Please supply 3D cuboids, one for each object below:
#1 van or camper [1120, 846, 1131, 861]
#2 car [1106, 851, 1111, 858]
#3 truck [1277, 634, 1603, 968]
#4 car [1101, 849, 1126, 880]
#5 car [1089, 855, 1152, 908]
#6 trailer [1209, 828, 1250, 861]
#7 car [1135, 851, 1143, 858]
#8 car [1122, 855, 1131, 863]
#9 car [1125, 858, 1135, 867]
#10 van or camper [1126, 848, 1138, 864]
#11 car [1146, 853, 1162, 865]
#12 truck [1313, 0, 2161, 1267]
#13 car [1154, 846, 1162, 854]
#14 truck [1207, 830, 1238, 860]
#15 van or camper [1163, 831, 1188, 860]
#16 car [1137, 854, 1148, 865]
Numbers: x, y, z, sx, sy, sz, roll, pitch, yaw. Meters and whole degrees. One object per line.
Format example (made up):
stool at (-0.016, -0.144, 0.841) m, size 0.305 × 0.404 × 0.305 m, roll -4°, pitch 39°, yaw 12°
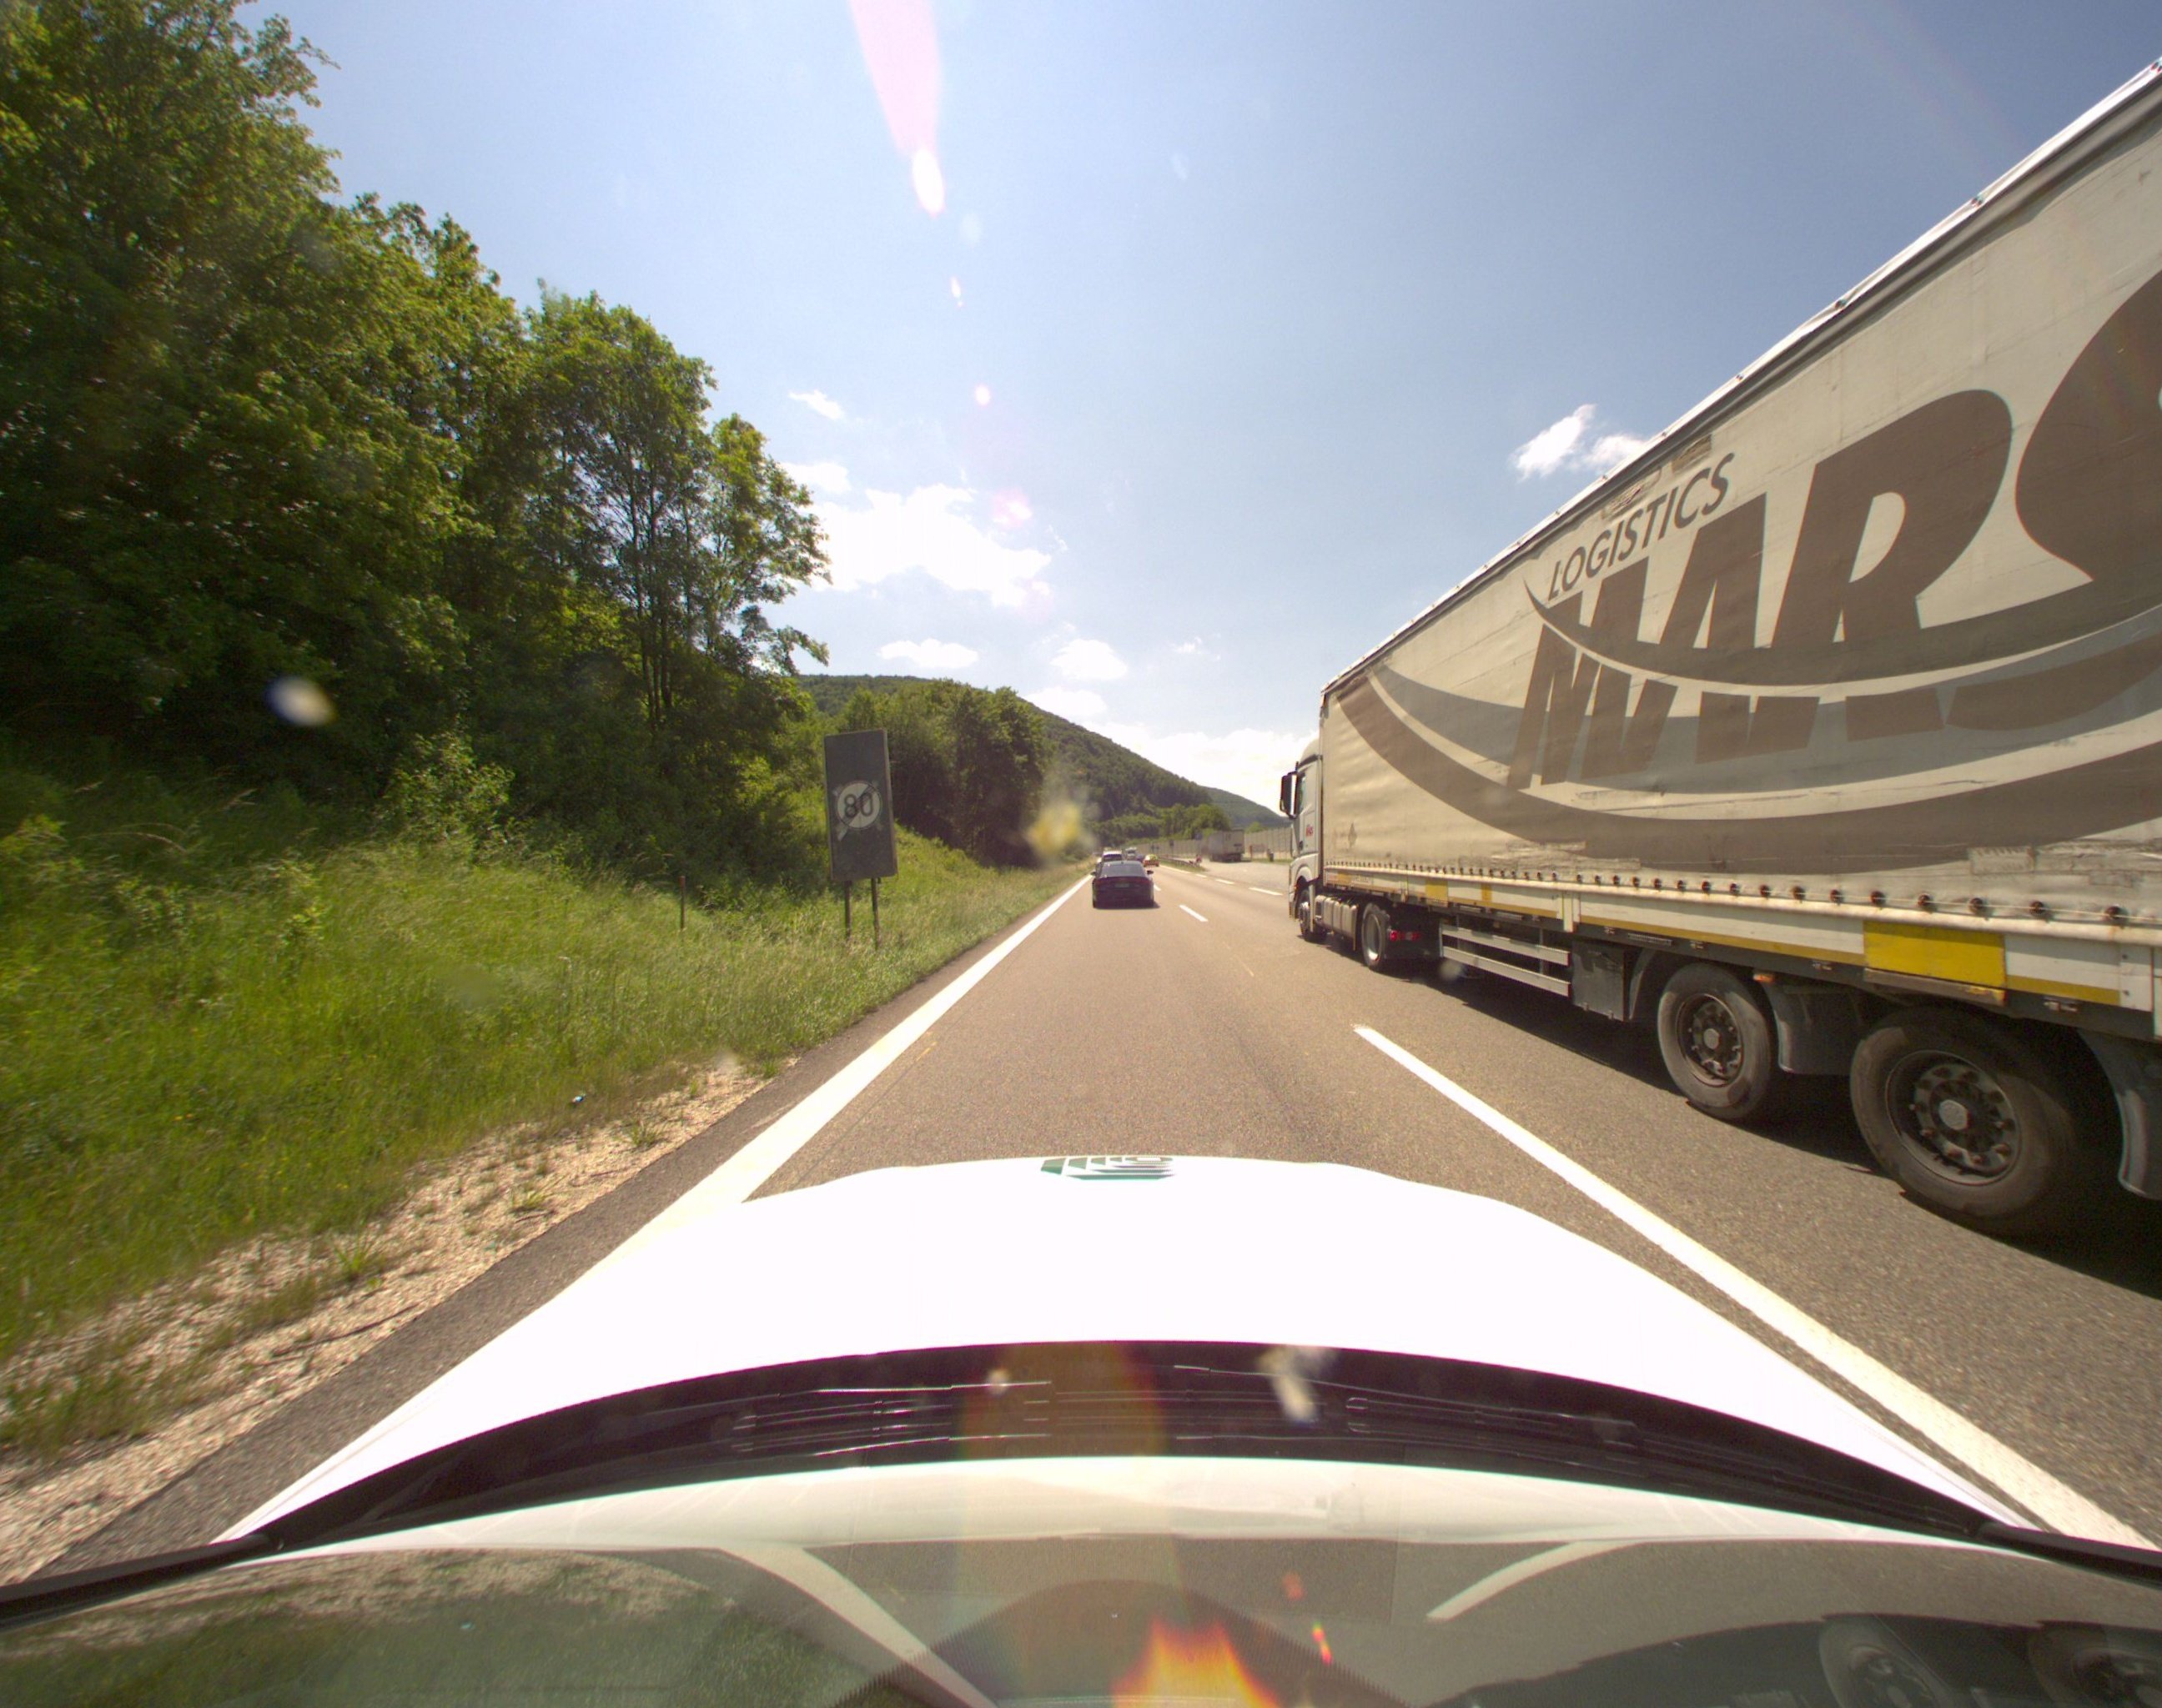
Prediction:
van or camper at (12.011, -0.132, 219.034) m, size 2.785 × 3.907 × 6.166 m, roll 0°, pitch -1°, yaw 0°
car at (8.243, 0.132, 244.011) m, size 1.681 × 2.013 × 4.001 m, roll -1°, pitch 0°, yaw 2°
truck at (5.075, -0.611, 12.847) m, size 2.709 × 4.068 × 5.756 m, roll -1°, pitch -1°, yaw 2°
car at (2.115, 0.700, 53.570) m, size 1.515 × 1.968 × 3.515 m, roll 1°, pitch -1°, yaw 2°
car at (1.253, 0.807, 25.619) m, size 1.804 × 1.514 × 3.517 m, roll -2°, pitch 0°, yaw 3°
trailer at (18.797, -1.132, 103.753) m, size 3.399 × 3.900 × 11.156 m, roll -1°, pitch 0°, yaw 2°
car at (16.432, 0.140, 231.175) m, size 1.987 × 2.014 × 4.000 m, roll -1°, pitch 0°, yaw 1°
car at (11.191, 1.246, 199.388) m, size 1.986 × 1.794 × 4.001 m, roll 0°, pitch -1°, yaw 2°
car at (8.322, 1.456, 138.076) m, size 1.524 × 1.525 × 3.598 m, roll 0°, pitch -1°, yaw 2°
van or camper at (10.621, 0.442, 170.826) m, size 2.420 × 3.155 × 5.206 m, roll 0°, pitch -1°, yaw 2°
car at (8.988, 0.619, 100.487) m, size 1.871 × 1.499 × 4.002 m, roll -1°, pitch 0°, yaw 2°
truck at (4.807, -0.715, 5.988) m, size 2.715 × 4.068 × 13.747 m, roll -1°, pitch -1°, yaw 2°
car at (18.201, -0.958, 192.732) m, size 1.570 × 2.013 × 3.430 m, roll -2°, pitch 0°, yaw 2°
truck at (19.044, -1.132, 110.130) m, size 3.399 × 3.900 × 5.389 m, roll -1°, pitch 0°, yaw 2°
van or camper at (13.121, -1.121, 113.411) m, size 2.785 × 3.842 × 6.166 m, roll 0°, pitch -1°, yaw 0°
car at (8.867, 0.860, 117.829) m, size 1.524 × 1.525 × 3.598 m, roll 0°, pitch -1°, yaw 2°
